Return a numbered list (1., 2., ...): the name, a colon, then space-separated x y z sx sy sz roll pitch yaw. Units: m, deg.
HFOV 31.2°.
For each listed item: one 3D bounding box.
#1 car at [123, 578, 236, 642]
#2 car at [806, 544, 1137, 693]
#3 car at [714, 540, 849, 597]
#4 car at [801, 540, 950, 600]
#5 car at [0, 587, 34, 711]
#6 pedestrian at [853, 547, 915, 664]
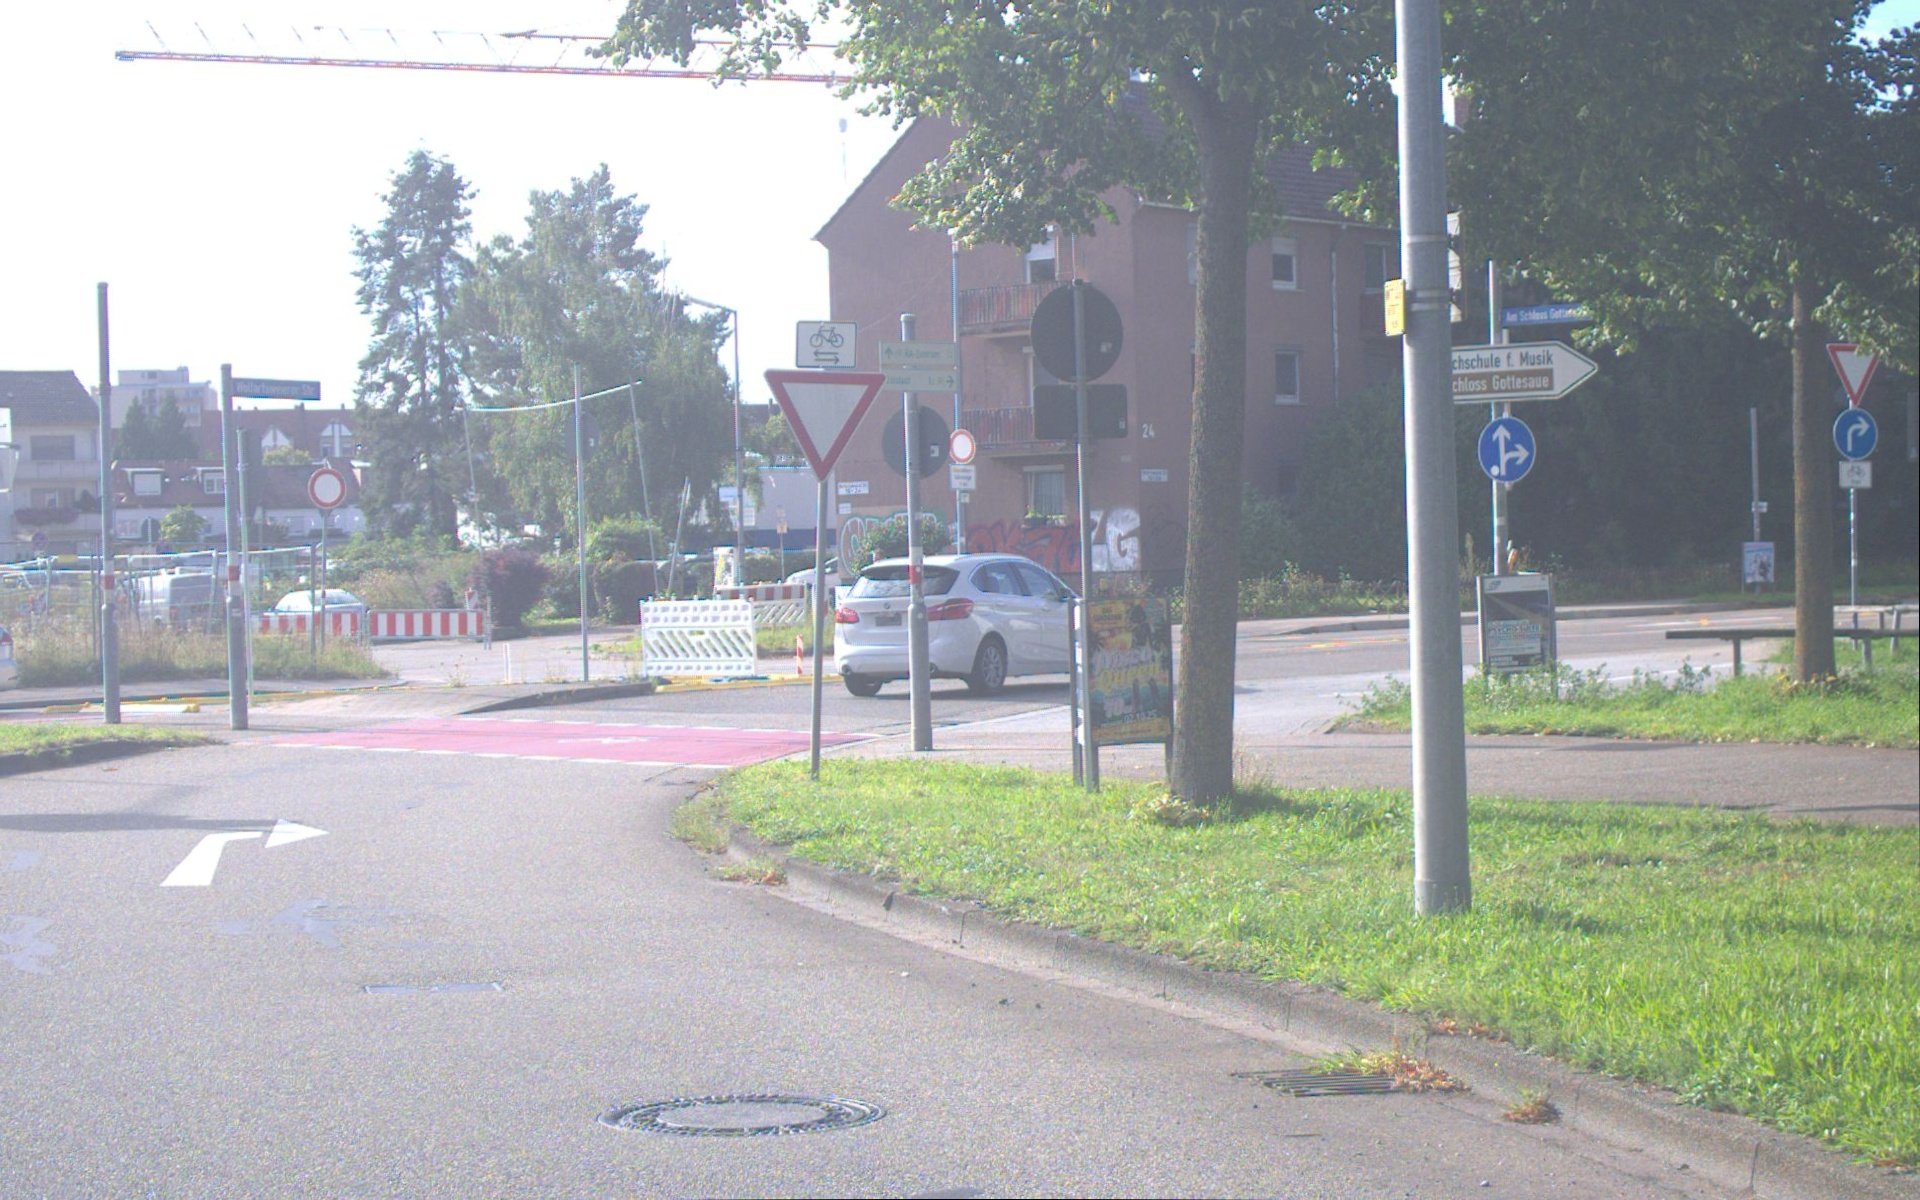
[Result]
1. car: -22.881 0.286 100.711 1.879 1.809 3.999 -2 1 -34
2. car: 0.203 0.165 39.203 1.853 1.567 4.448 0 1 29
3. car: -5.384 -0.939 103.250 3.986 1.612 1.773 -1 1 -4
4. car: -2.378 -0.859 97.521 3.988 1.612 1.773 -1 1 7
5. car: -13.251 0.629 39.775 4.529 1.447 1.823 -2 1 -41
6. pedestrian: -1.236 0.086 56.059 0.668 1.864 0.834 -1 1 24
